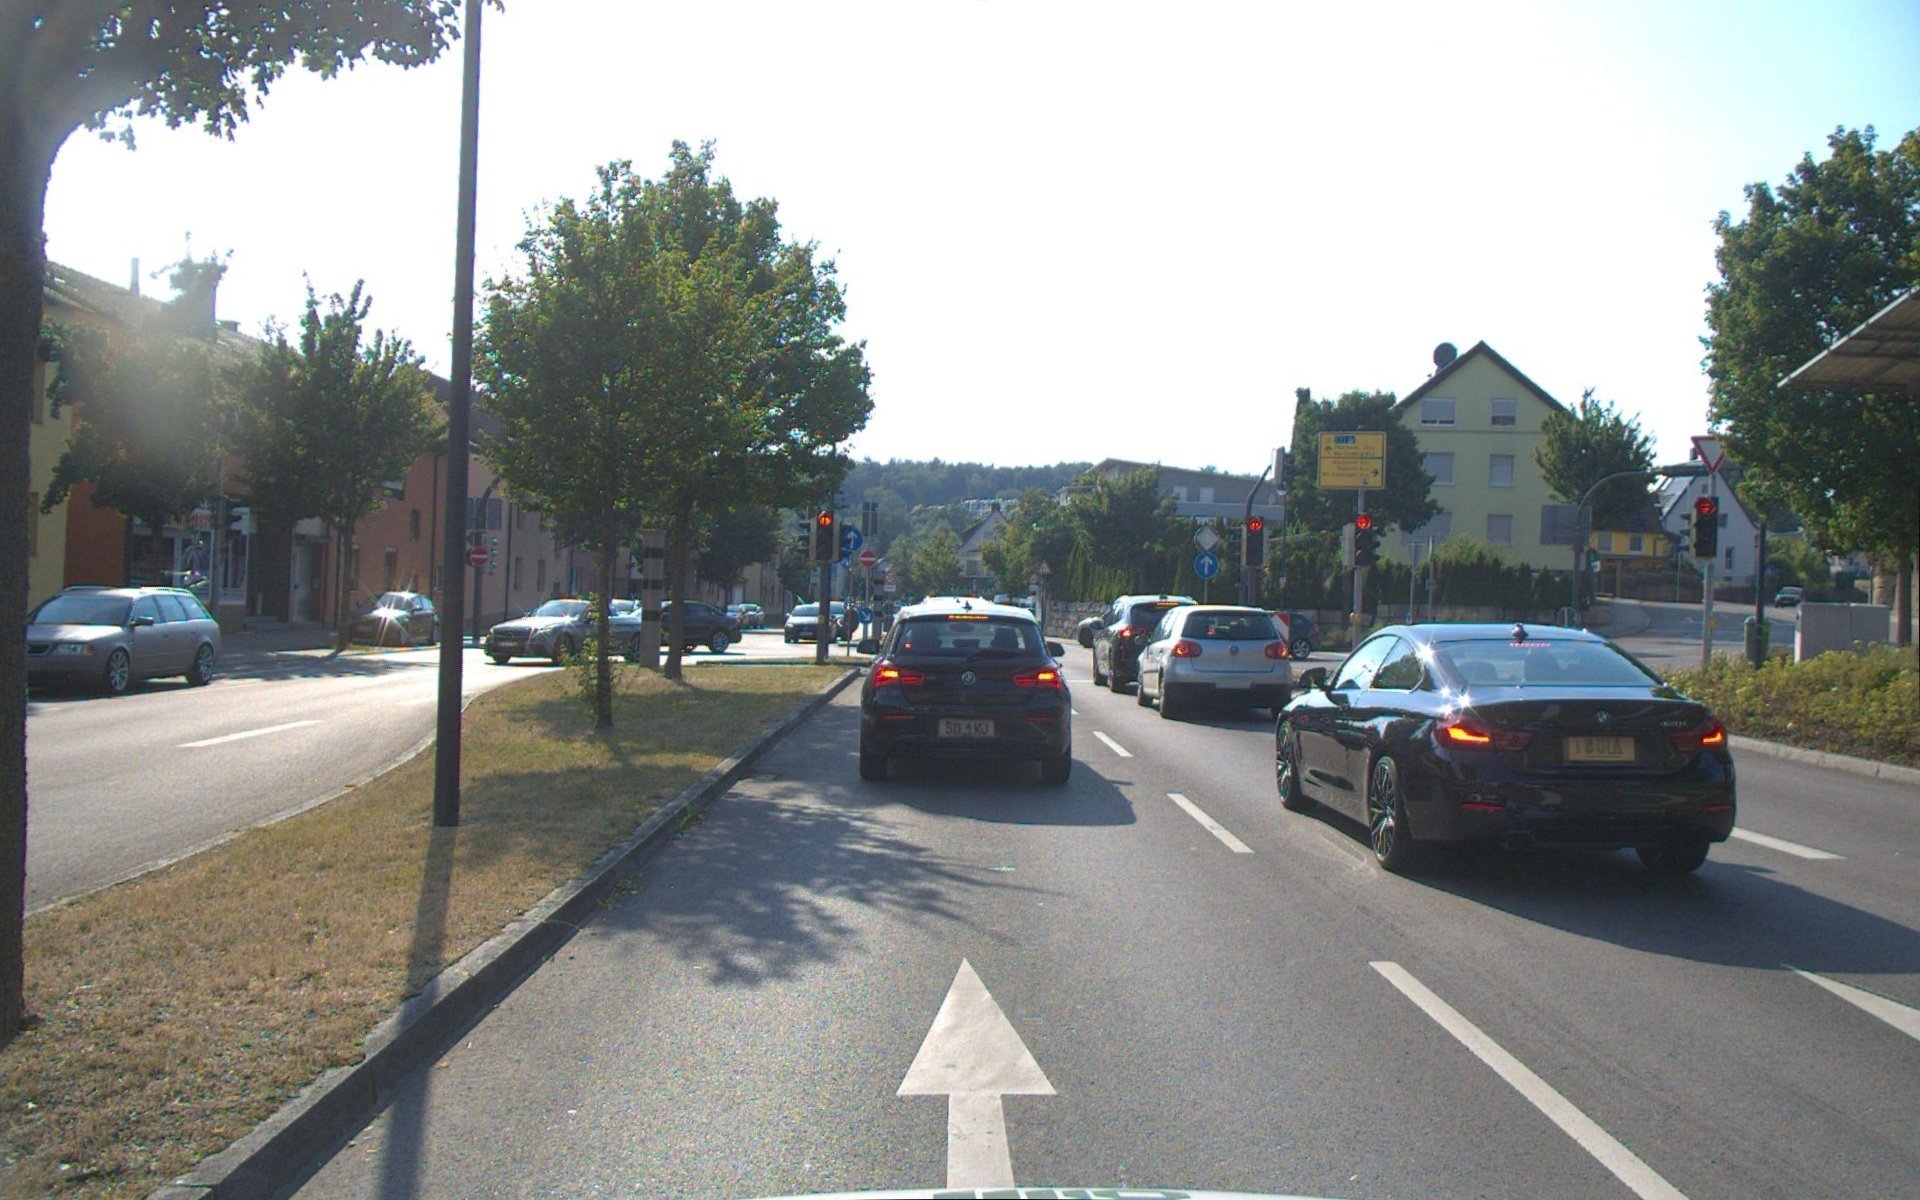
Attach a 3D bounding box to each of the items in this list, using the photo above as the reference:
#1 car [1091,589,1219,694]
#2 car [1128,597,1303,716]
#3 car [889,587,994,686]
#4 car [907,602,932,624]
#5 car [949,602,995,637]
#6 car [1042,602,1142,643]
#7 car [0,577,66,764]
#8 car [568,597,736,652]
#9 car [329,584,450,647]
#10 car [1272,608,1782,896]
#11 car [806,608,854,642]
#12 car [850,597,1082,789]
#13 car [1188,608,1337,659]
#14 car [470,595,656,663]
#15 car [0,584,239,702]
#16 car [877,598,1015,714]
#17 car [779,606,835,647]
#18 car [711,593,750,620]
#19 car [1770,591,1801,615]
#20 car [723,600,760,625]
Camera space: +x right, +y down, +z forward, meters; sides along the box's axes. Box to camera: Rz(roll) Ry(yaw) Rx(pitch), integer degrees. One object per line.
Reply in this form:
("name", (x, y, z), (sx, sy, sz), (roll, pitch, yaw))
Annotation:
("car", (3.384, 0.679, 29.434), (1.779, 1.695, 4.347), (1, 0, 0))
("car", (3.464, 0.719, 23.144), (1.779, 1.471, 4.347), (1, 0, 0))
("car", (-0.301, 0.622, 30.455), (1.779, 1.670, 4.241), (1, 0, 0))
("car", (-3.134, 1.024, 127.781), (1.885, 1.624, 3.999), (1, 0, -1))
("car", (0.592, 0.984, 84.380), (1.854, 1.732, 4.517), (0, 0, -6))
("car", (5.131, 0.864, 64.998), (1.839, 1.511, 4.619), (1, 0, -26))
("car", (-8.660, 0.557, 12.401), (1.764, 1.523, 3.955), (1, 0, -1))
("car", (-8.568, 0.677, 46.378), (1.813, 1.446, 4.624), (1, 0, 37))
("car", (-15.911, 0.412, 46.322), (1.805, 1.579, 4.001), (3, 0, 2))
("car", (3.296, 0.785, 10.586), (1.779, 1.413, 4.347), (1, 0, 0))
("car", (-5.595, 1.057, 71.533), (1.658, 1.377, 4.000), (1, 0, 1))
("car", (0.061, 0.711, 14.802), (1.754, 1.439, 4.347), (1, 0, 0))
("car", (8.995, 0.985, 49.396), (4.094, 1.411, 1.649), (1, 0, -5))
("car", (-8.733, 0.623, 36.772), (1.744, 1.373, 4.478), (1, 0, 22))
("car", (-12.141, 0.547, 23.623), (1.652, 1.488, 4.710), (1, 0, -1))
("car", (-0.166, 0.729, 23.692), (1.779, 1.476, 4.241), (1, 0, 0))
("car", (-5.898, 0.993, 64.001), (1.730, 1.484, 4.000), (1, 0, 1))
("car", (-14.692, 0.411, 106.095), (1.884, 1.624, 4.000), (1, 0, 1))
("car", (61.475, 0.184, 123.128), (1.753, 1.533, 4.062), (2, 4, 30))
("car", (-14.693, 0.809, 111.599), (1.884, 1.624, 4.000), (1, 0, 1))
